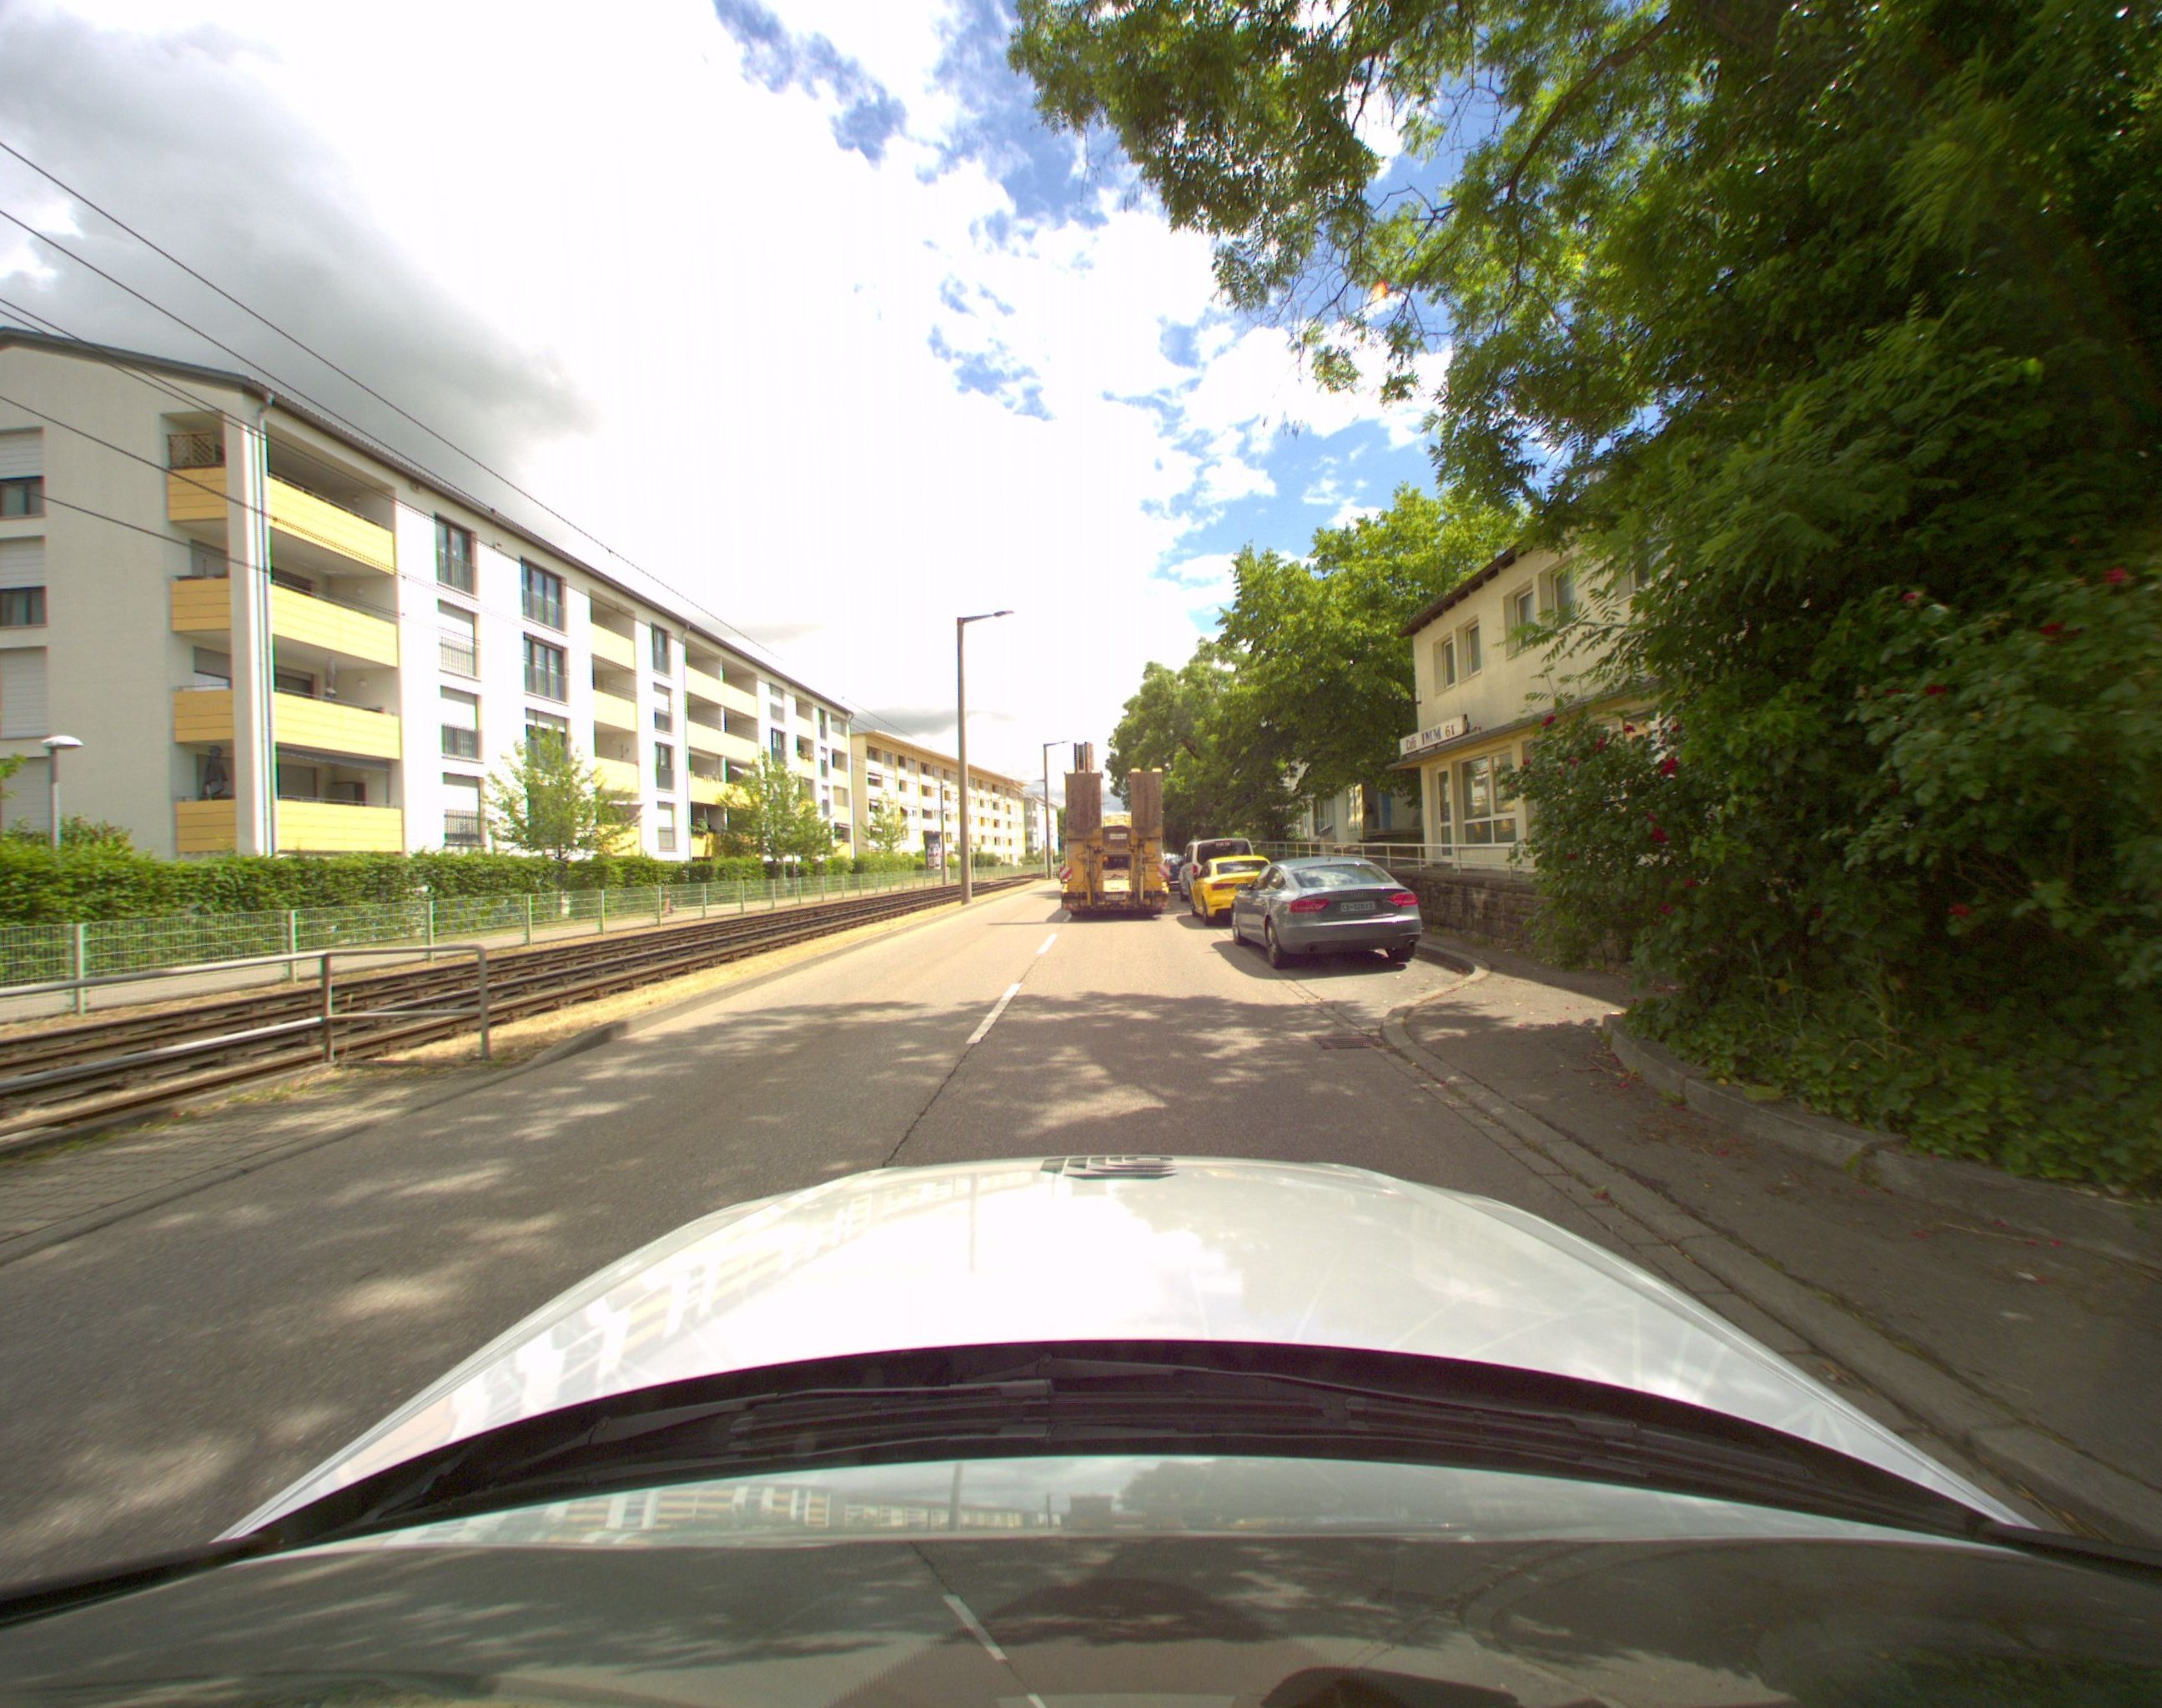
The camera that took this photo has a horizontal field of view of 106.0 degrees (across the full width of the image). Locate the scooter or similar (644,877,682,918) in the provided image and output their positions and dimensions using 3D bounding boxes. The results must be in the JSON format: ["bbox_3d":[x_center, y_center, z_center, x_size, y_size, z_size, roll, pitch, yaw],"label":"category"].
[{"bbox_3d":[-13.804,1.420,26.951,0.488,1.293,1.303,-2,0,3],"label":"scooter or similar"}]

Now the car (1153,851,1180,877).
[{"bbox_3d":[6.177,0.684,58.855,1.814,1.682,4.583,-3,0,6],"label":"car"}]

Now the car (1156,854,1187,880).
[{"bbox_3d":[5.466,0.769,49.328,1.638,1.490,3.825,-2,0,3],"label":"car"}]

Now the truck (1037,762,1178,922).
[{"bbox_3d":[0.827,-0.278,24.874,3.112,3.564,12.465,-2,0,2],"label":"truck"}]

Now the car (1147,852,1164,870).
[{"bbox_3d":[8.436,0.789,92.306,1.791,1.968,4.595,-3,0,4],"label":"car"}]

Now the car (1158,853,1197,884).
[{"bbox_3d":[5.032,0.721,42.813,1.602,1.456,3.677,-4,0,1],"label":"car"}]

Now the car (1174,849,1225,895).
[{"bbox_3d":[4.401,0.646,30.478,1.507,1.534,2.848,-4,0,2],"label":"car"}]

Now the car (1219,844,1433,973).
[{"bbox_3d":[3.286,0.650,11.884,1.749,1.442,4.494,-3,0,1],"label":"car"}]

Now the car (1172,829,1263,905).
[{"bbox_3d":[4.009,0.359,24.899,1.907,1.958,5.747,-3,0,2],"label":"car"}]

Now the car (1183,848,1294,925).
[{"bbox_3d":[3.410,0.654,18.410,1.748,1.442,4.343,-4,0,2],"label":"car"}]
